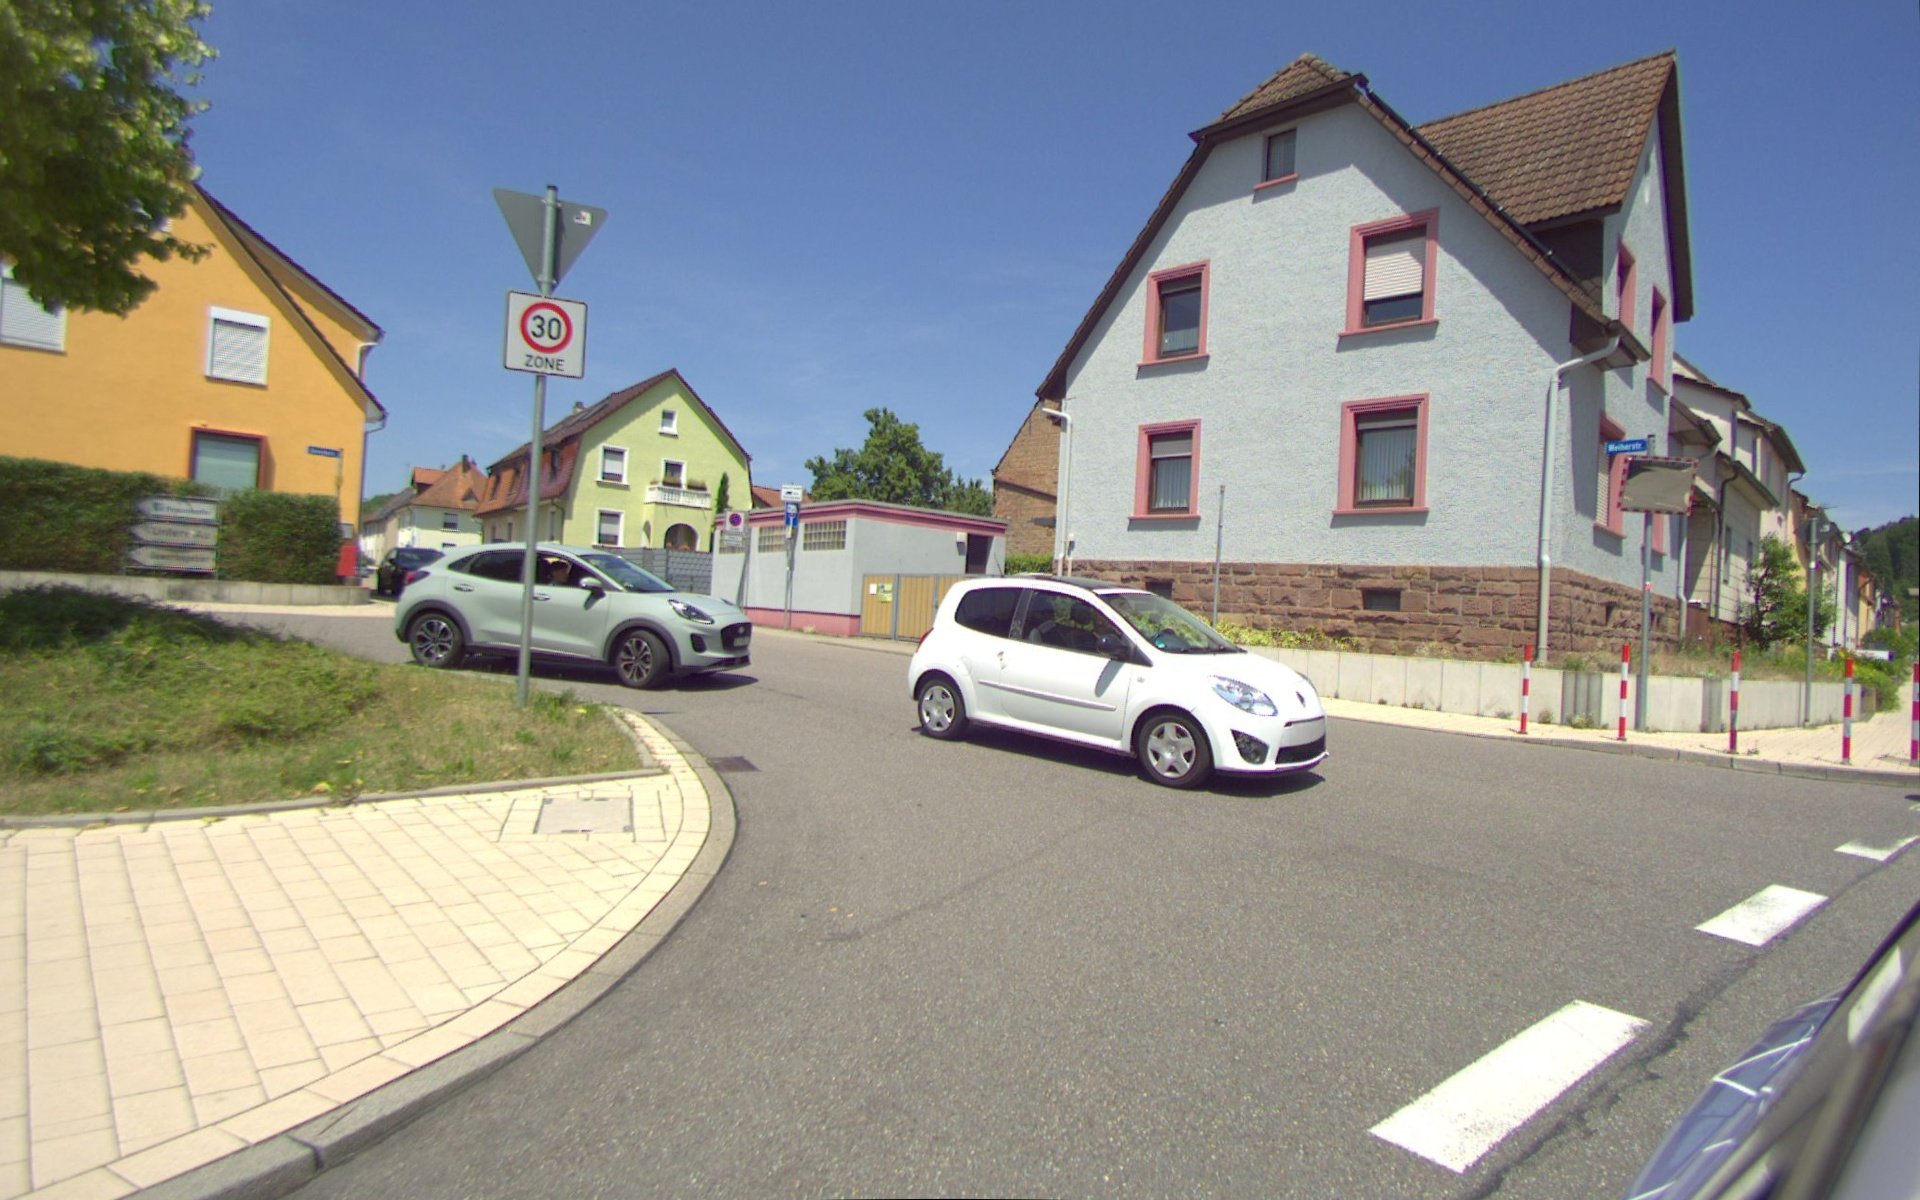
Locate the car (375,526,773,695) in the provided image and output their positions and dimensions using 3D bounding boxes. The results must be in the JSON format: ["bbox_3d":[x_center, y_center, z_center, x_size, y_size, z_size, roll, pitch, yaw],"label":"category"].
[{"bbox_3d":[-4.501,0.072,12.062,4.060,1.554,1.771,4,2,10],"label":"car"}]

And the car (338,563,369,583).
[{"bbox_3d":[-53.046,-2.355,88.453,1.804,1.616,3.882,2,1,-38],"label":"car"}]

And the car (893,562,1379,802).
[{"bbox_3d":[1.341,0.507,8.576,3.670,1.497,1.748,4,2,43],"label":"car"}]

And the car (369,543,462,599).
[{"bbox_3d":[-17.651,-0.944,32.713,1.963,1.616,3.998,2,1,-38],"label":"car"}]
